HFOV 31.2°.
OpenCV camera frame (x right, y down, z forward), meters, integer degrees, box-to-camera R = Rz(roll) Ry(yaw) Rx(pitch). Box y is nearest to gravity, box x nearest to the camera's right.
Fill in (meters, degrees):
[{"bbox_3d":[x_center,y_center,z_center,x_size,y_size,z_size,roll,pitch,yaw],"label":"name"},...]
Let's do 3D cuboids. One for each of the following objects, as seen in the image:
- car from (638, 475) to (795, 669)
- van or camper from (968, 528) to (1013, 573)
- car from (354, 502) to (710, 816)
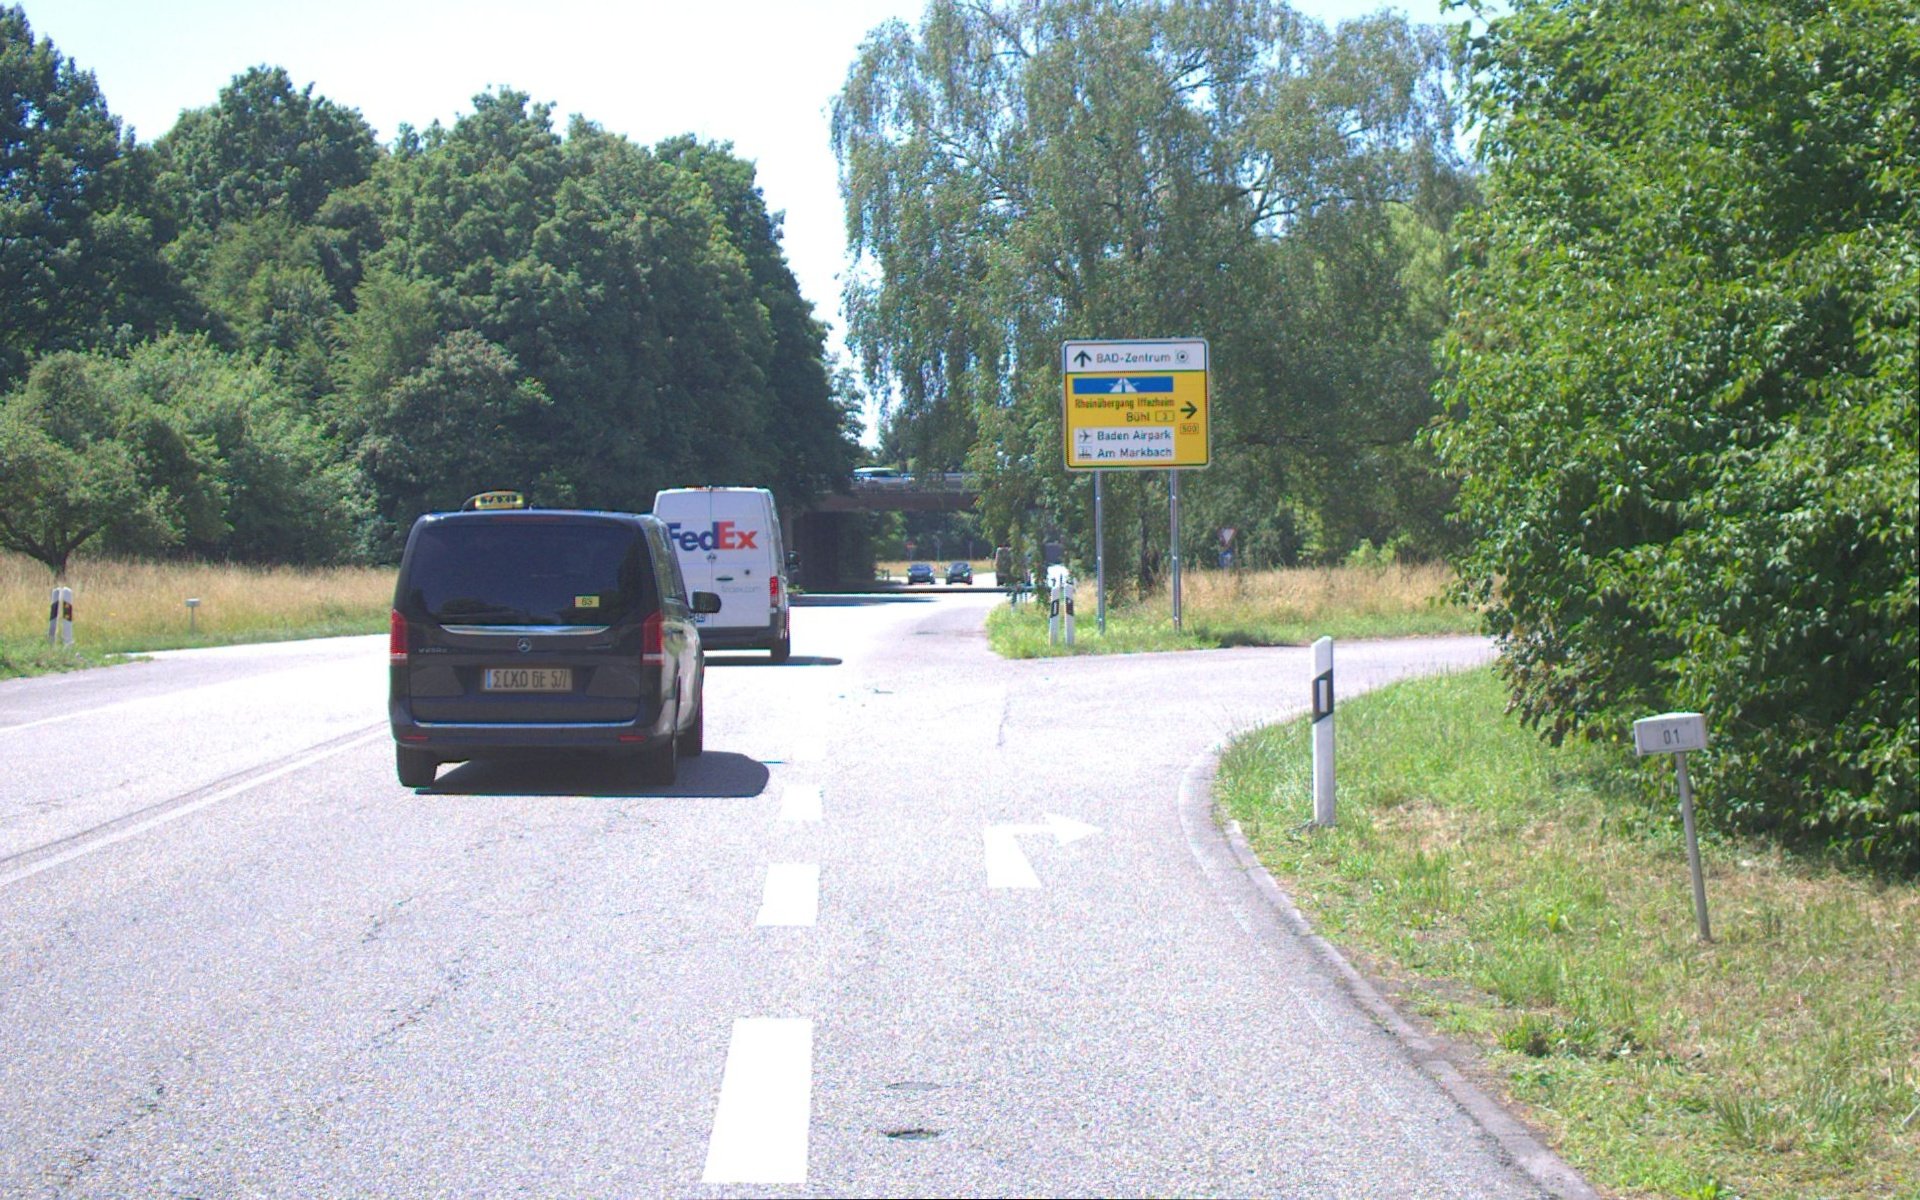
[{"bbox_3d":[-3.564,-0.423,51.106,2.078,2.693,4.667,1,0,-2],"label":"car"},{"bbox_3d":[2.039,-3.282,228.919,2.631,2.919,5.207,1,0,-3],"label":"van or camper"},{"bbox_3d":[-2.899,0.352,24.335,1.993,1.946,5.005,1,1,-2],"label":"car"}]
